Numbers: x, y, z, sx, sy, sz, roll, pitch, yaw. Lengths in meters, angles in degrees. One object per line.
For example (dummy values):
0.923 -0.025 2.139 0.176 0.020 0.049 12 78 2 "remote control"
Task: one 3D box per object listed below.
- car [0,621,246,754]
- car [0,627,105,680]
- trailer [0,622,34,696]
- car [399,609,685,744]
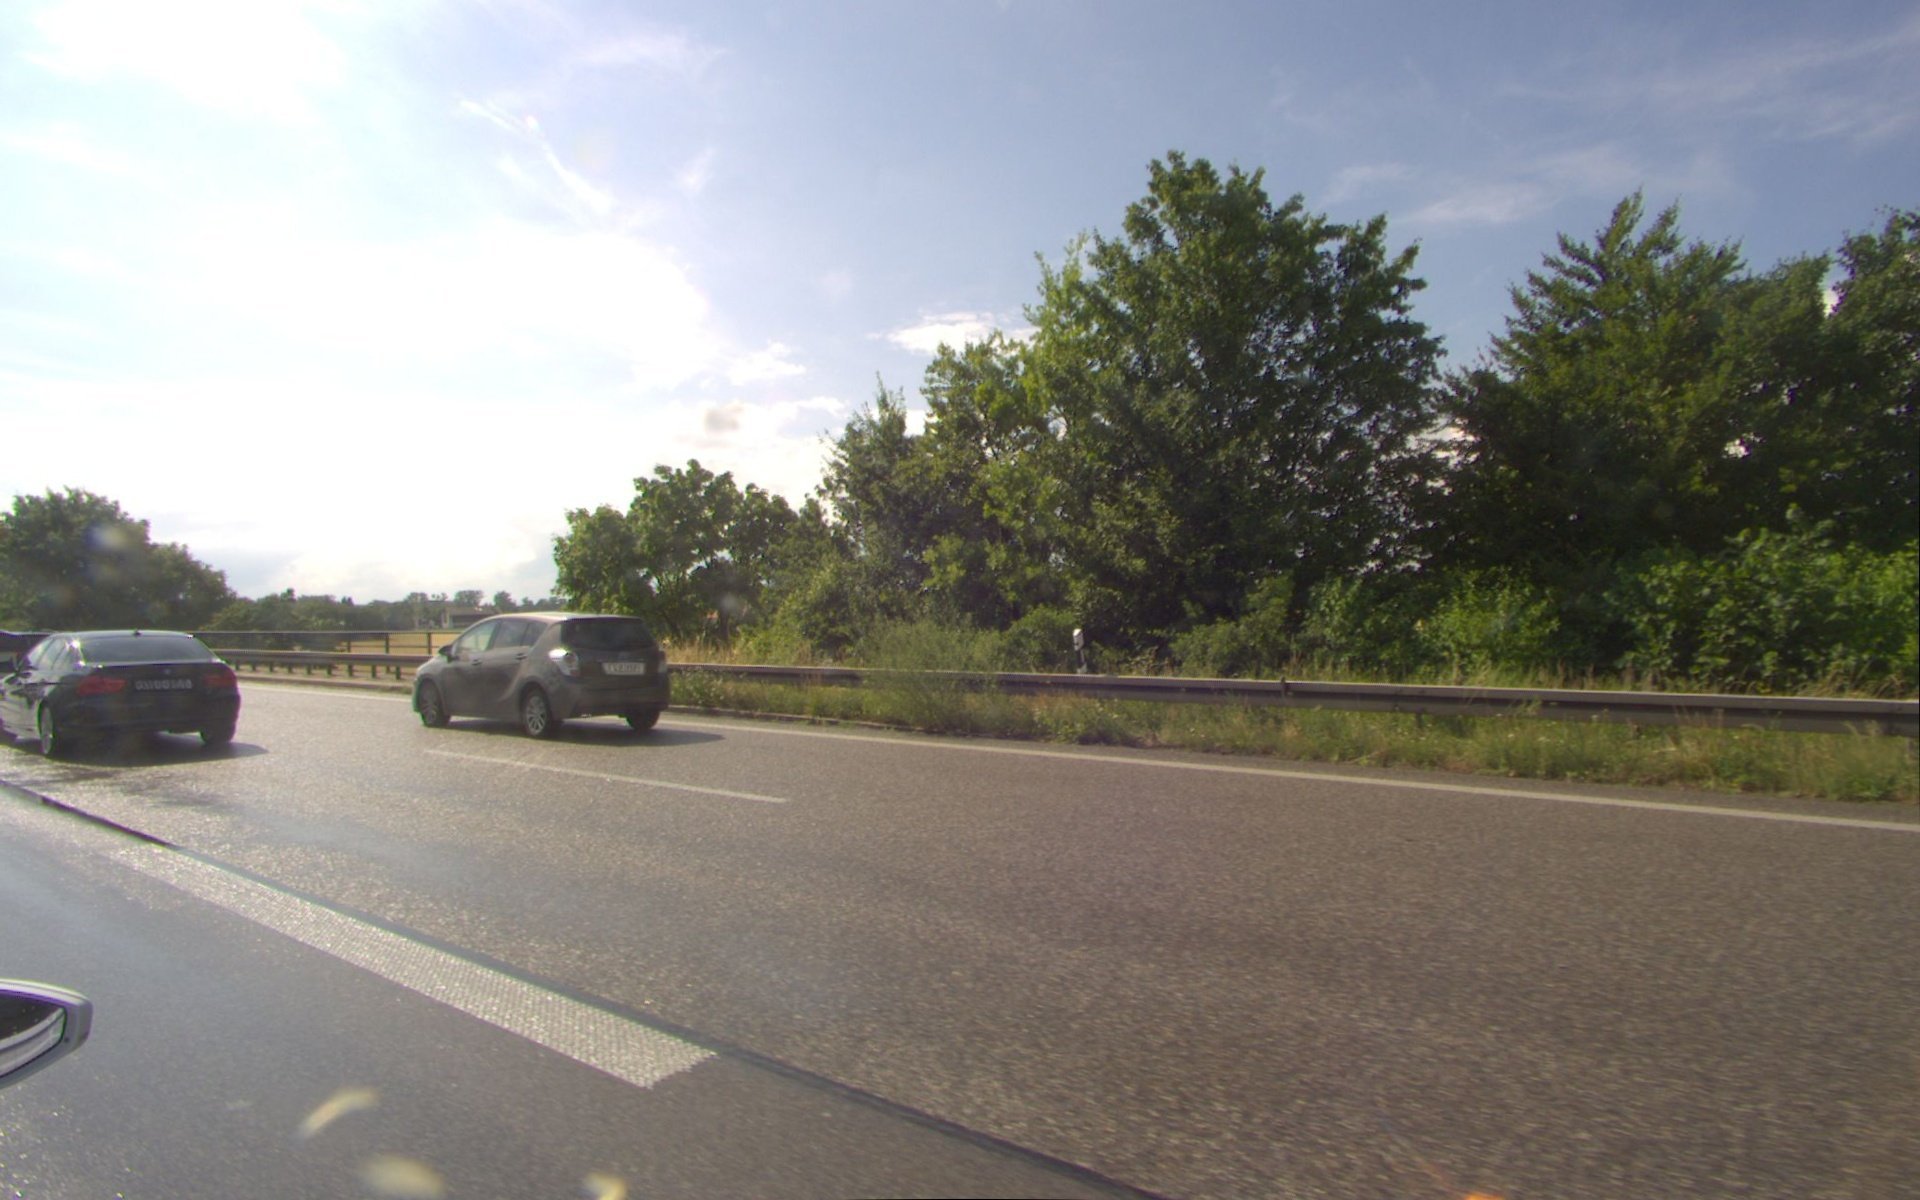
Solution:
-10.823 0.995 12.722 3.785 1.439 1.735 -1 -1 36 "car"
-26.439 1.496 28.948 4.234 1.420 1.765 -1 -1 37 "car"
-20.810 1.194 20.572 4.093 1.460 1.849 -1 -1 36 "trailer"
-6.007 0.970 14.186 4.328 1.634 1.782 -1 -1 36 "car"
